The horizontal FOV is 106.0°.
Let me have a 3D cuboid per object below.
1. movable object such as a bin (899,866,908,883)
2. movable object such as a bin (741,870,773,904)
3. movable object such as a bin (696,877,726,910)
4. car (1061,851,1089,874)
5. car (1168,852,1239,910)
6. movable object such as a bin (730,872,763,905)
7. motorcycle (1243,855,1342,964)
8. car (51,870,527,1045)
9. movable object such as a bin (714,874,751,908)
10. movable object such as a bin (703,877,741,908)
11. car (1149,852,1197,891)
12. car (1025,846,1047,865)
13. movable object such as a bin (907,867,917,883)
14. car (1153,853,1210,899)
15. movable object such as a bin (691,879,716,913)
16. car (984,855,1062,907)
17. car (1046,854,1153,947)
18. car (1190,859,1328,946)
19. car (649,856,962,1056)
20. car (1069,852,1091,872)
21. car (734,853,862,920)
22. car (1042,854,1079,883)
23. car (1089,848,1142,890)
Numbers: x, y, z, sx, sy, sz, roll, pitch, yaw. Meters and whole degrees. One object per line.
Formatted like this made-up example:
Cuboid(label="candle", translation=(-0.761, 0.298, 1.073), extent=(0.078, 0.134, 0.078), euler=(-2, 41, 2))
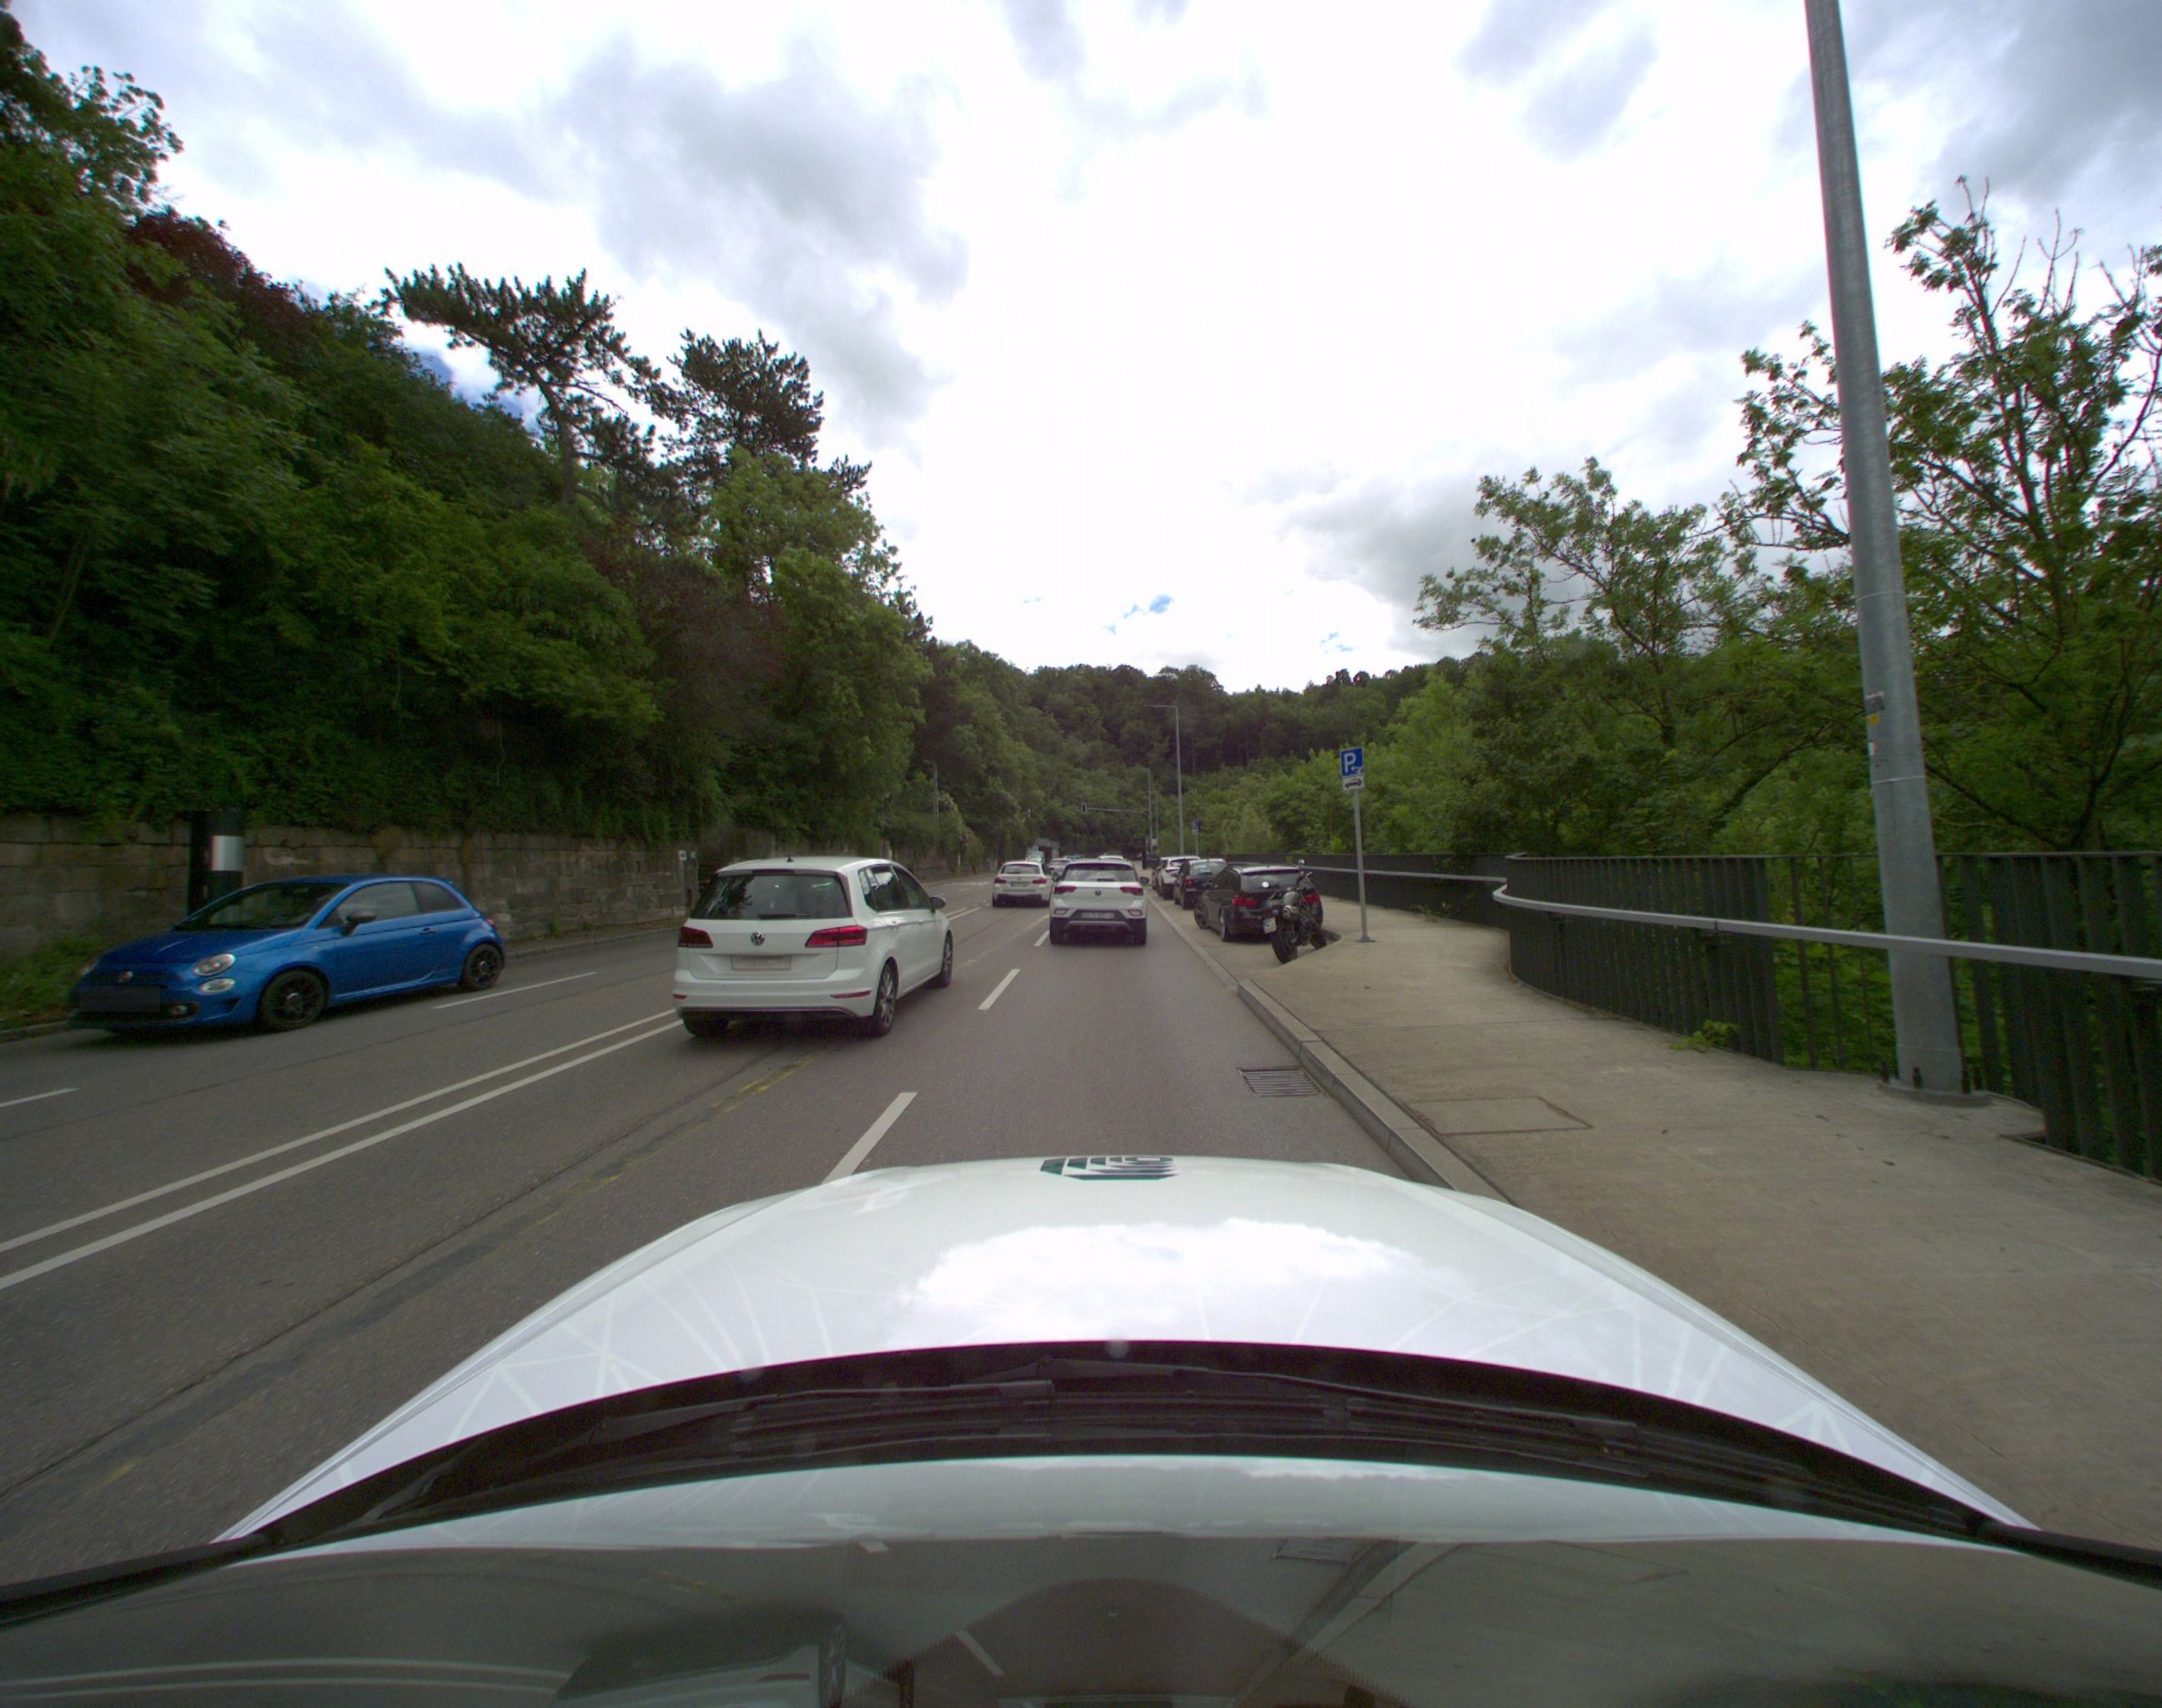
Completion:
Cuboid(label="movable object such as a bin", translation=(-10.406, 1.221, 47.730), extent=(0.476, 0.971, 0.367), euler=(1, -1, -3))
Cuboid(label="movable object such as a bin", translation=(-10.969, 1.106, 27.561), extent=(0.785, 1.071, 0.708), euler=(-1, 1, -2))
Cuboid(label="movable object such as a bin", translation=(-11.266, 1.188, 24.794), extent=(0.672, 0.966, 0.543), euler=(-1, 0, -2))
Cuboid(label="car", translation=(-0.482, 0.659, 65.304), extent=(1.985, 1.741, 4.003), euler=(0, 0, 3))
Cuboid(label="car", translation=(3.774, 0.793, 25.702), extent=(1.653, 1.572, 4.257), euler=(-4, 0, 2))
Cuboid(label="movable object such as a bin", translation=(-11.021, 1.135, 26.824), extent=(0.770, 1.062, 0.717), euler=(-1, 0, -2))
Cuboid(label="motorcycle", translation=(3.247, 0.753, 12.298), extent=(0.762, 1.467, 2.520), euler=(-1, 0, 30))
Cuboid(label="car", translation=(-8.082, 0.932, 8.834), extent=(1.577, 1.461, 3.526), euler=(0, -1, 3))
Cuboid(label="movable object such as a bin", translation=(-11.147, 1.176, 26.082), extent=(0.896, 1.034, 0.621), euler=(-1, 0, -2))
Cuboid(label="movable object such as a bin", translation=(-11.197, 1.194, 25.441), extent=(0.913, 0.945, 0.593), euler=(-1, 0, -2))
Cuboid(label="car", translation=(4.124, 0.768, 37.277), extent=(1.750, 1.544, 4.429), euler=(-4, 0, 2))
Cuboid(label="car", translation=(-4.951, 0.123, 90.031), extent=(1.914, 2.005, 5.359), euler=(-1, 0, 2))
Cuboid(label="movable object such as a bin", translation=(-9.901, 1.239, 47.745), extent=(0.478, 0.936, 0.365), euler=(1, -1, -3))
Cuboid(label="car", translation=(3.753, 0.812, 31.133), extent=(1.720, 1.568, 4.626), euler=(-2, -1, 2))
Cuboid(label="movable object such as a bin", translation=(-11.084, 1.225, 23.912), extent=(0.515, 0.966, 0.474), euler=(-1, 0, -2))
Cuboid(label="car", translation=(-1.794, 0.817, 26.886), extent=(1.985, 1.557, 4.685), euler=(0, 0, 3))
Cuboid(label="car", translation=(0.310, 0.827, 16.076), extent=(1.808, 1.539, 4.007), euler=(-2, -1, 0))
Cuboid(label="car", translation=(3.389, 0.853, 16.323), extent=(1.817, 1.401, 4.320), euler=(-3, 0, 1))
Cuboid(label="car", translation=(-2.473, 0.801, 8.518), extent=(1.714, 1.554, 4.276), euler=(0, 0, 1))
Cuboid(label="car", translation=(-0.073, 0.800, 79.088), extent=(1.985, 1.864, 4.003), euler=(0, 0, 3))
Cuboid(label="car", translation=(-7.839, 0.843, 23.060), extent=(1.807, 1.697, 4.474), euler=(0, 0, 4))
Cuboid(label="car", translation=(-1.164, 0.825, 47.981), extent=(1.855, 1.595, 4.003), euler=(1, 0, 3))
Cuboid(label="car", translation=(1.721, 0.703, 39.282), extent=(1.981, 1.843, 4.161), euler=(1, -1, 9))
